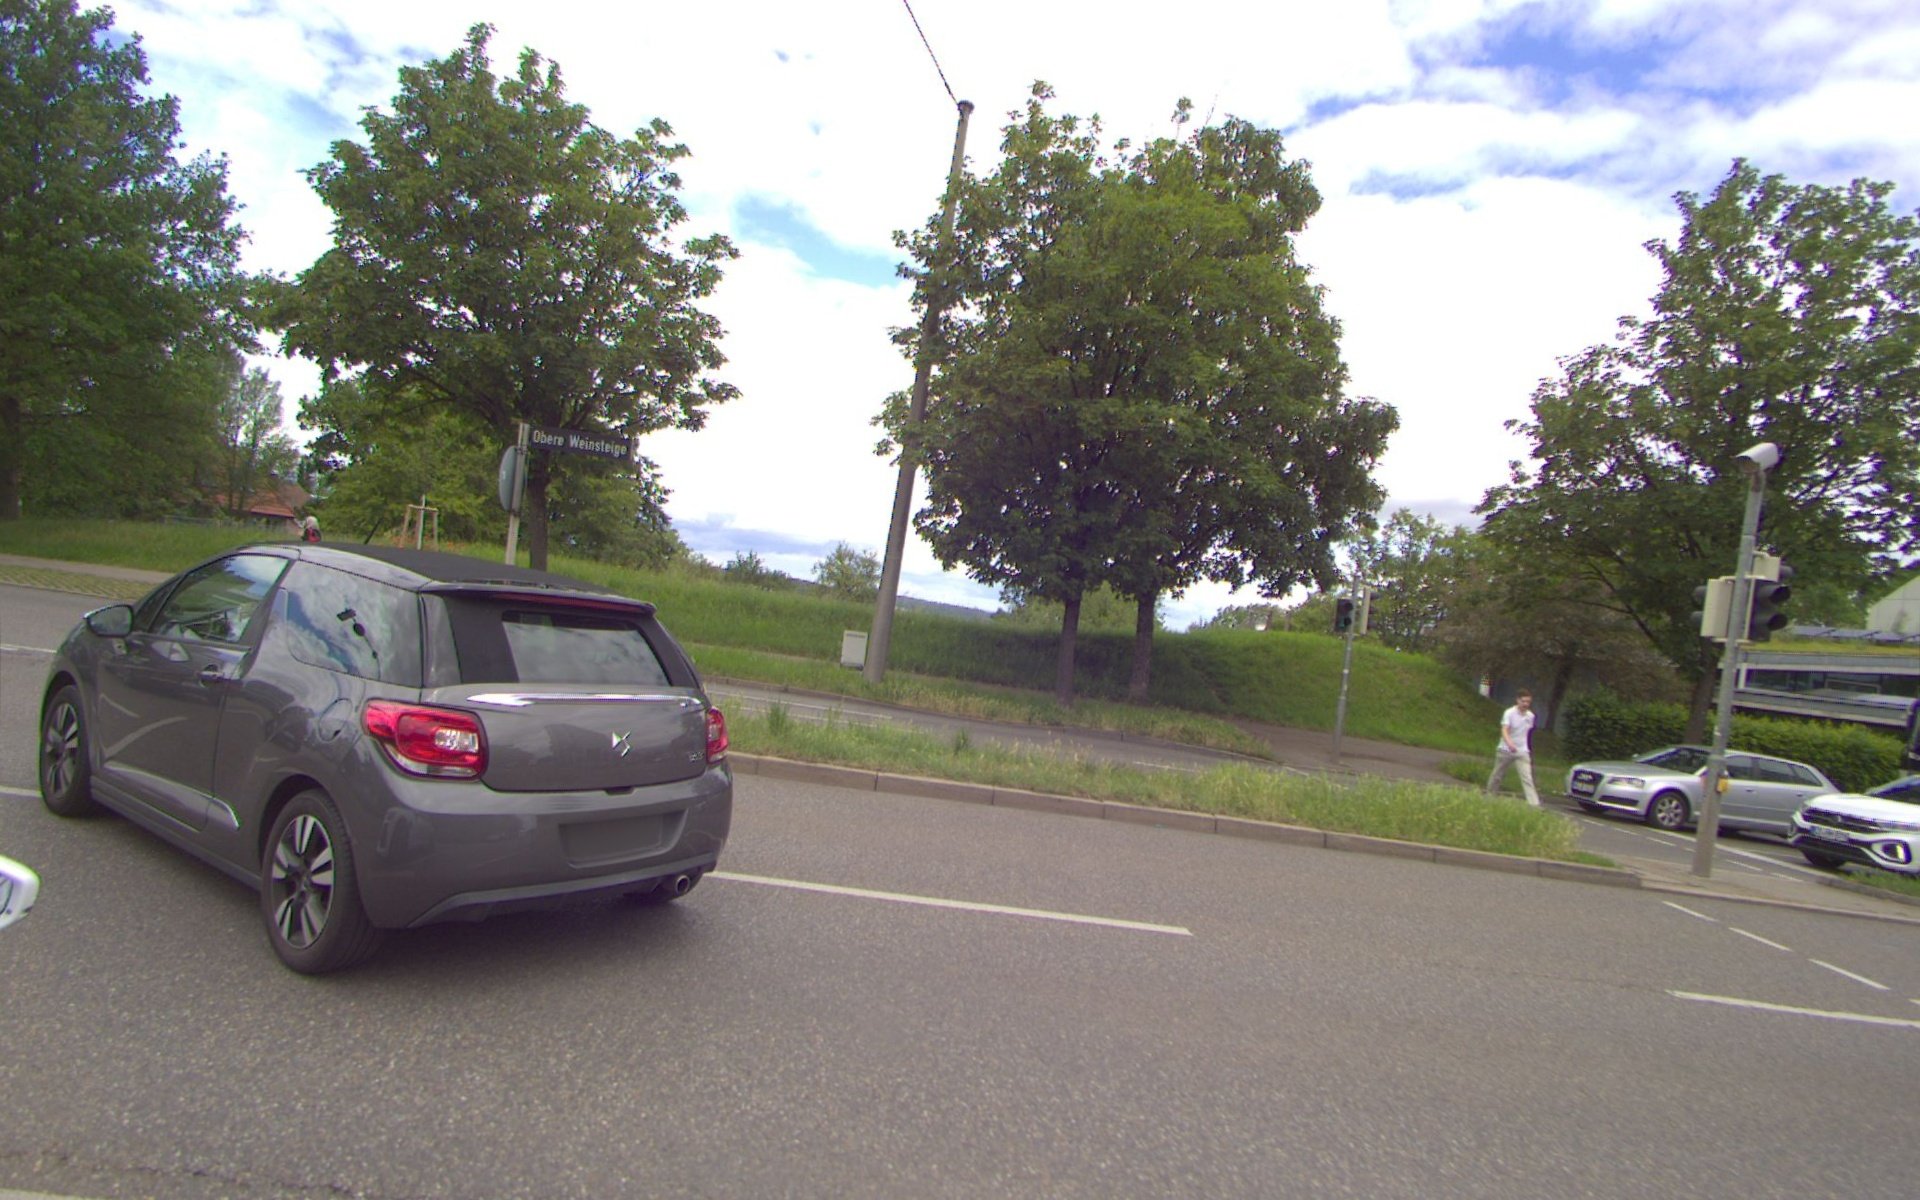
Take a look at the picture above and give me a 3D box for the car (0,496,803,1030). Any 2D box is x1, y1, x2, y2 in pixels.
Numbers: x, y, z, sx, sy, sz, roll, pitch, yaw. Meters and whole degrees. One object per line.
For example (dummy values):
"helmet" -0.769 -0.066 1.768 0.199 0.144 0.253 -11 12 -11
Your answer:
"car" -2.894 0.458 4.850 3.996 1.478 1.703 6 -1 33

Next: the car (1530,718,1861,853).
"car" 12.195 3.058 16.867 4.085 1.459 1.989 8 -1 -5

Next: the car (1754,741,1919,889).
"car" 13.522 3.067 13.423 4.410 1.547 1.855 9 -1 -5

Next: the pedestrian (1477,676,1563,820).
"pedestrian" 8.168 2.137 14.701 0.577 1.940 0.757 8 -1 -2

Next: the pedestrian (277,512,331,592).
"pedestrian" -14.043 -1.034 21.553 0.690 1.627 0.541 8 5 -4

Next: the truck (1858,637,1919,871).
"truck" 21.169 3.241 17.252 9.292 3.972 2.827 8 -1 -6
